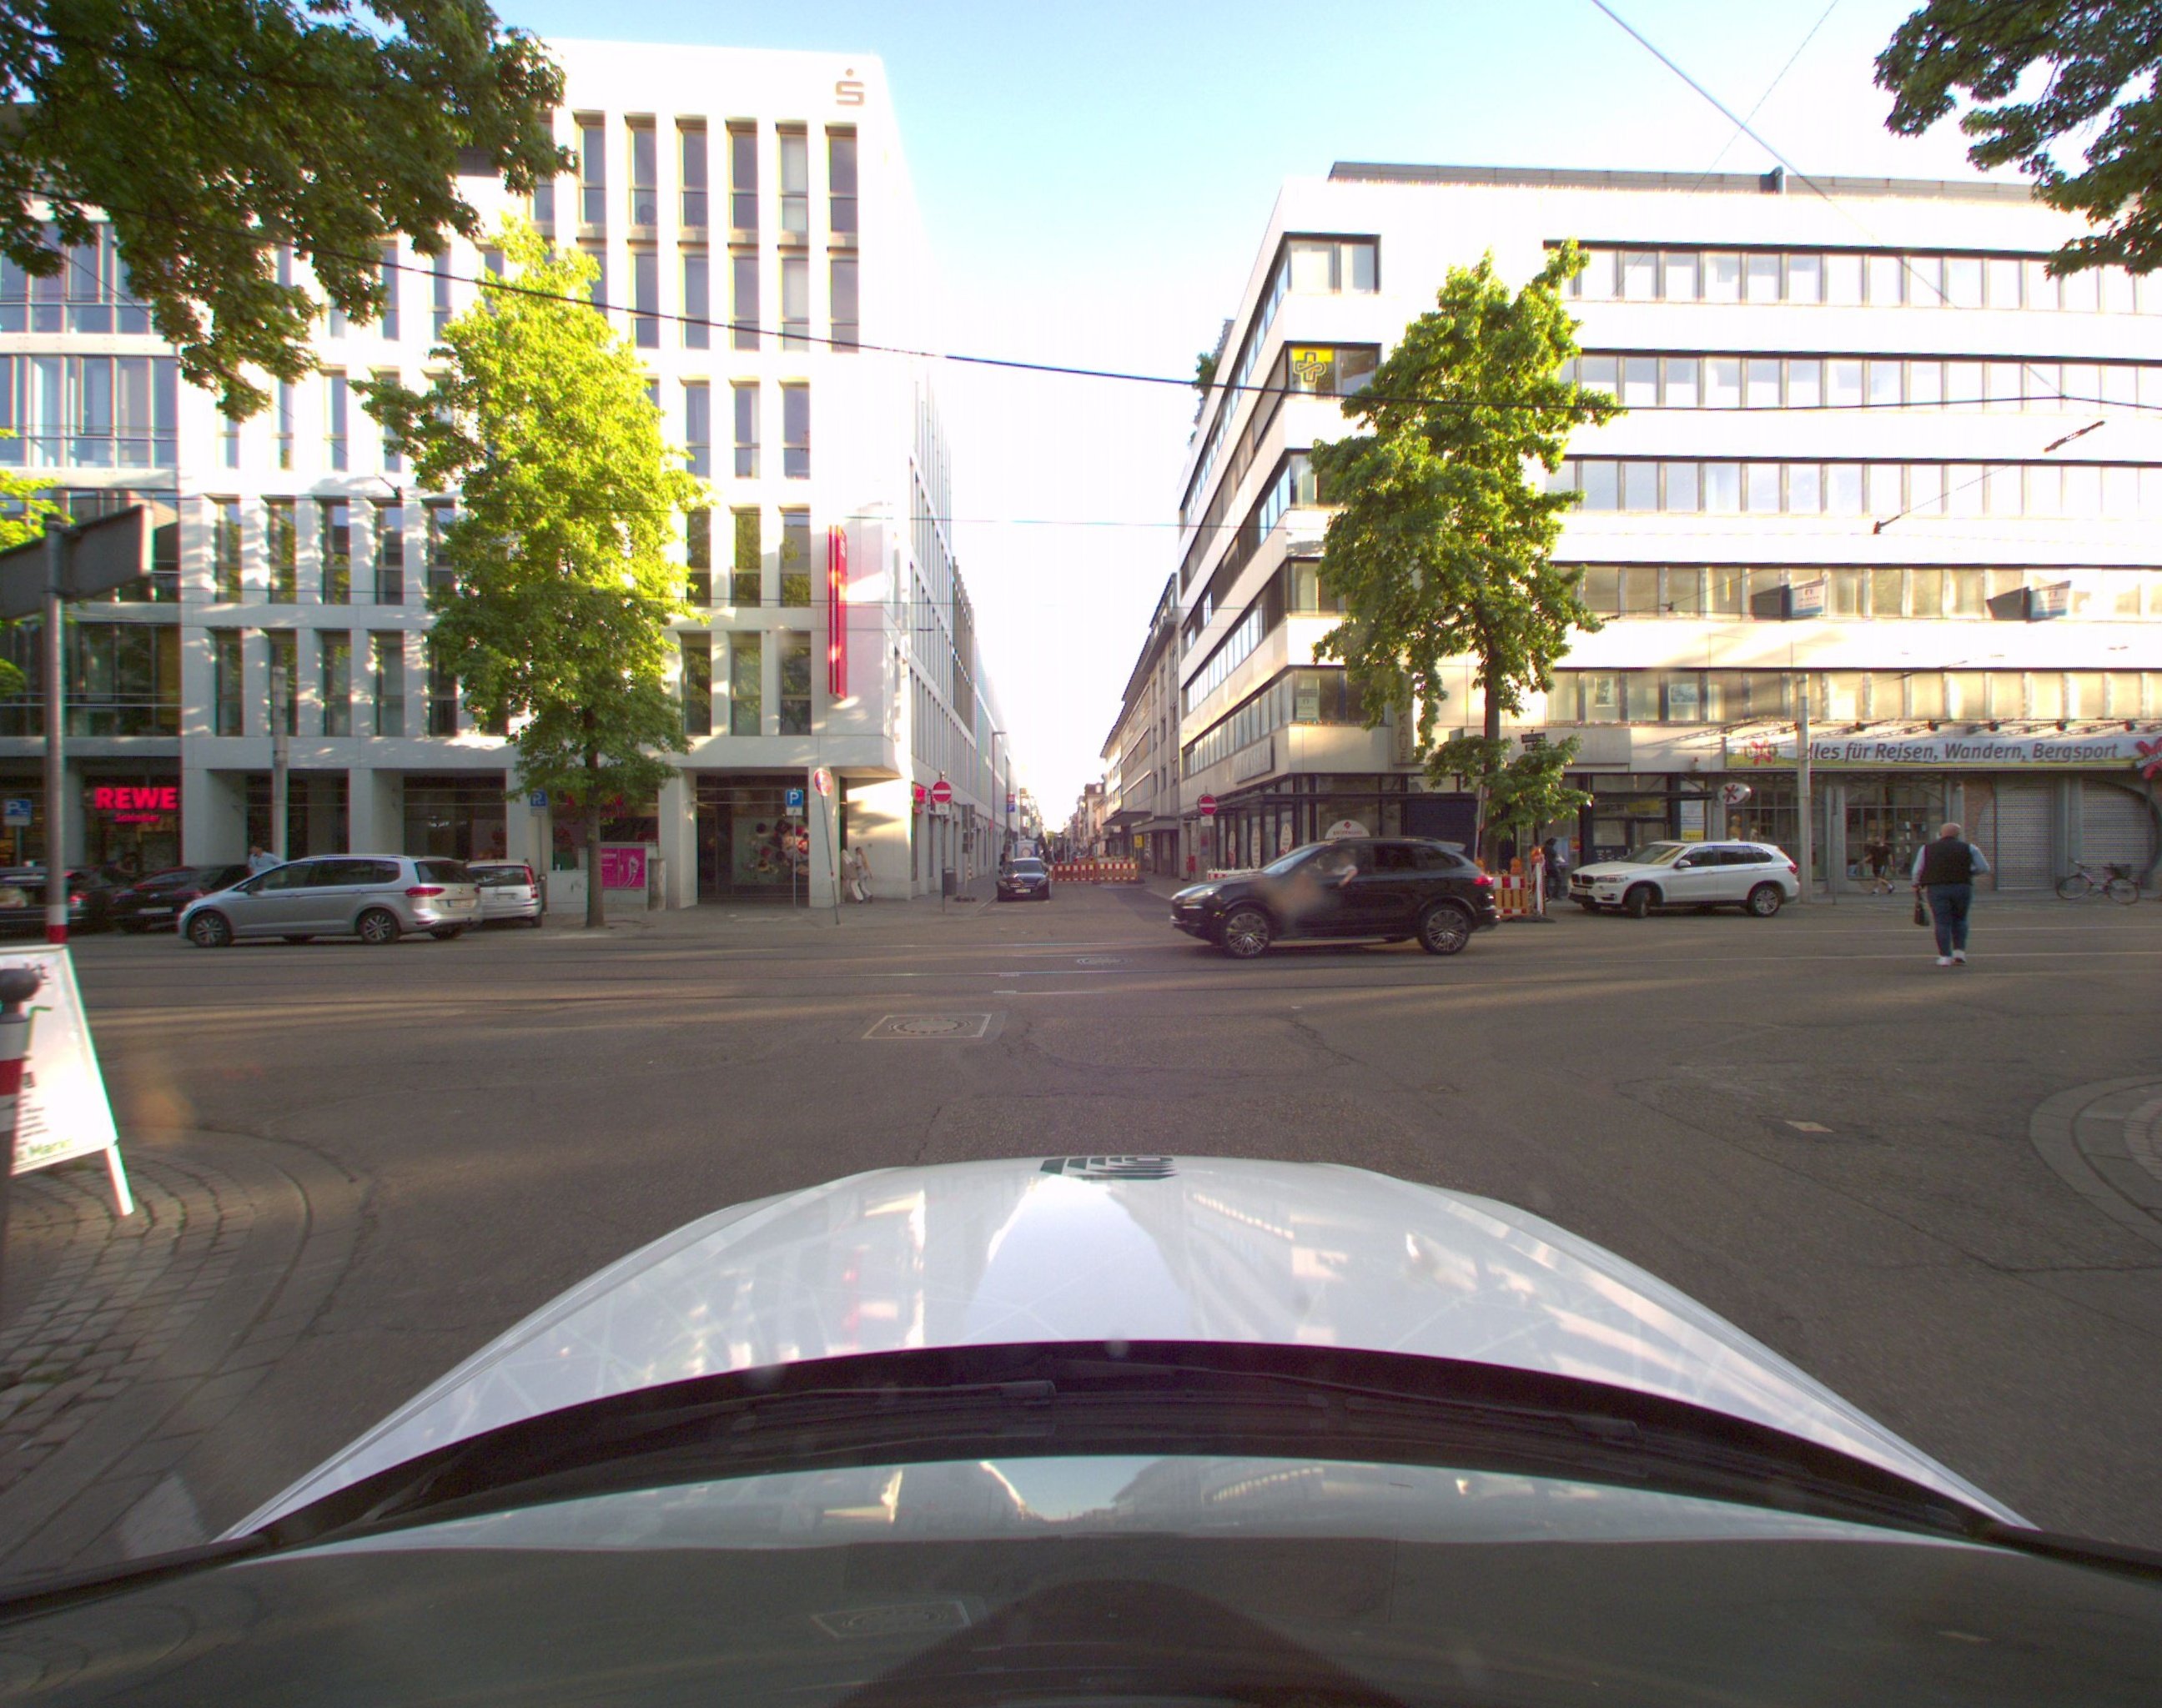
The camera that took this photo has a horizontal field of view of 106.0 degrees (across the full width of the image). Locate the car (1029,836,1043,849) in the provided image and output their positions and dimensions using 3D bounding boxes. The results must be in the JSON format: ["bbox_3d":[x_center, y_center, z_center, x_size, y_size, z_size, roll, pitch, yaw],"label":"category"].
[{"bbox_3d":[-6.747,-1.747,123.358,1.988,1.776,3.997,-2,0,-2],"label":"car"}]

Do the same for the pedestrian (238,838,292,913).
[{"bbox_3d":[-18.212,0.462,18.199,0.642,1.627,0.638,0,0,-23],"label":"pedestrian"}]

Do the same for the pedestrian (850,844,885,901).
[{"bbox_3d":[-6.232,0.533,23.743,0.615,1.627,0.862,-2,0,-43],"label":"pedestrian"}]

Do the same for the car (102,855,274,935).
[{"bbox_3d":[-20.729,0.872,19.098,1.595,1.505,3.559,-2,3,-29],"label":"car"}]

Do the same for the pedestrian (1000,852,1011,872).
[{"bbox_3d":[-5.640,0.596,60.583,0.713,1.464,0.525,-2,0,0],"label":"pedestrian"}]

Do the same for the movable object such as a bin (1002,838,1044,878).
[{"bbox_3d":[-3.074,0.188,44.006,1.988,2.013,3.998,-2,0,-1],"label":"movable object such as a bin"}]

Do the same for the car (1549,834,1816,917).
[{"bbox_3d":[14.079,0.452,19.279,4.918,1.775,2.021,0,2,-3],"label":"car"}]

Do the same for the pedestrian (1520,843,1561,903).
[{"bbox_3d":[12.283,0.495,21.777,0.704,1.549,0.578,-2,0,-5],"label":"pedestrian"}]

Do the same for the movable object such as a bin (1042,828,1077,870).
[{"bbox_3d":[-1.446,-0.331,53.983,2.151,2.663,4.569,-1,0,-2],"label":"movable object such as a bin"}]

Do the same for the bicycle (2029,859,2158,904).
[{"bbox_3d":[25.663,0.659,20.709,0.666,0.952,2.025,-2,3,-4],"label":"bicycle"}]

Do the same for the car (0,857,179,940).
[{"bbox_3d":[-22.636,0.921,18.284,1.956,1.505,3.961,-2,3,-29],"label":"car"}]

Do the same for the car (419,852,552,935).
[{"bbox_3d":[-13.649,0.807,18.917,1.956,1.505,3.961,-2,3,-29],"label":"car"}]

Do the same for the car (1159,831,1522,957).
[{"bbox_3d":[3.774,0.556,12.455,4.918,1.726,2.020,0,0,-3],"label":"car"}]

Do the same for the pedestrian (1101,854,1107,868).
[{"bbox_3d":[2.309,0.689,80.790,0.521,1.464,0.719,-1,0,6],"label":"pedestrian"}]

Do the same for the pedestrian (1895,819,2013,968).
[{"bbox_3d":[11.099,0.466,10.401,0.795,1.776,1.079,-2,0,36],"label":"pedestrian"}]

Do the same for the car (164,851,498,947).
[{"bbox_3d":[-13.653,0.800,15.071,4.264,1.593,1.825,-1,-2,-5],"label":"car"}]

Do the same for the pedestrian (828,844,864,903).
[{"bbox_3d":[-6.734,0.551,23.343,0.615,1.627,0.862,-2,0,-43],"label":"pedestrian"}]

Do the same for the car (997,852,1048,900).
[{"bbox_3d":[-2.083,0.737,28.701,1.627,1.550,3.137,-2,0,-5],"label":"car"}]

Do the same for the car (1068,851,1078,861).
[{"bbox_3d":[-1.668,0.400,168.058,1.988,1.776,3.997,-2,0,-2],"label":"car"}]
